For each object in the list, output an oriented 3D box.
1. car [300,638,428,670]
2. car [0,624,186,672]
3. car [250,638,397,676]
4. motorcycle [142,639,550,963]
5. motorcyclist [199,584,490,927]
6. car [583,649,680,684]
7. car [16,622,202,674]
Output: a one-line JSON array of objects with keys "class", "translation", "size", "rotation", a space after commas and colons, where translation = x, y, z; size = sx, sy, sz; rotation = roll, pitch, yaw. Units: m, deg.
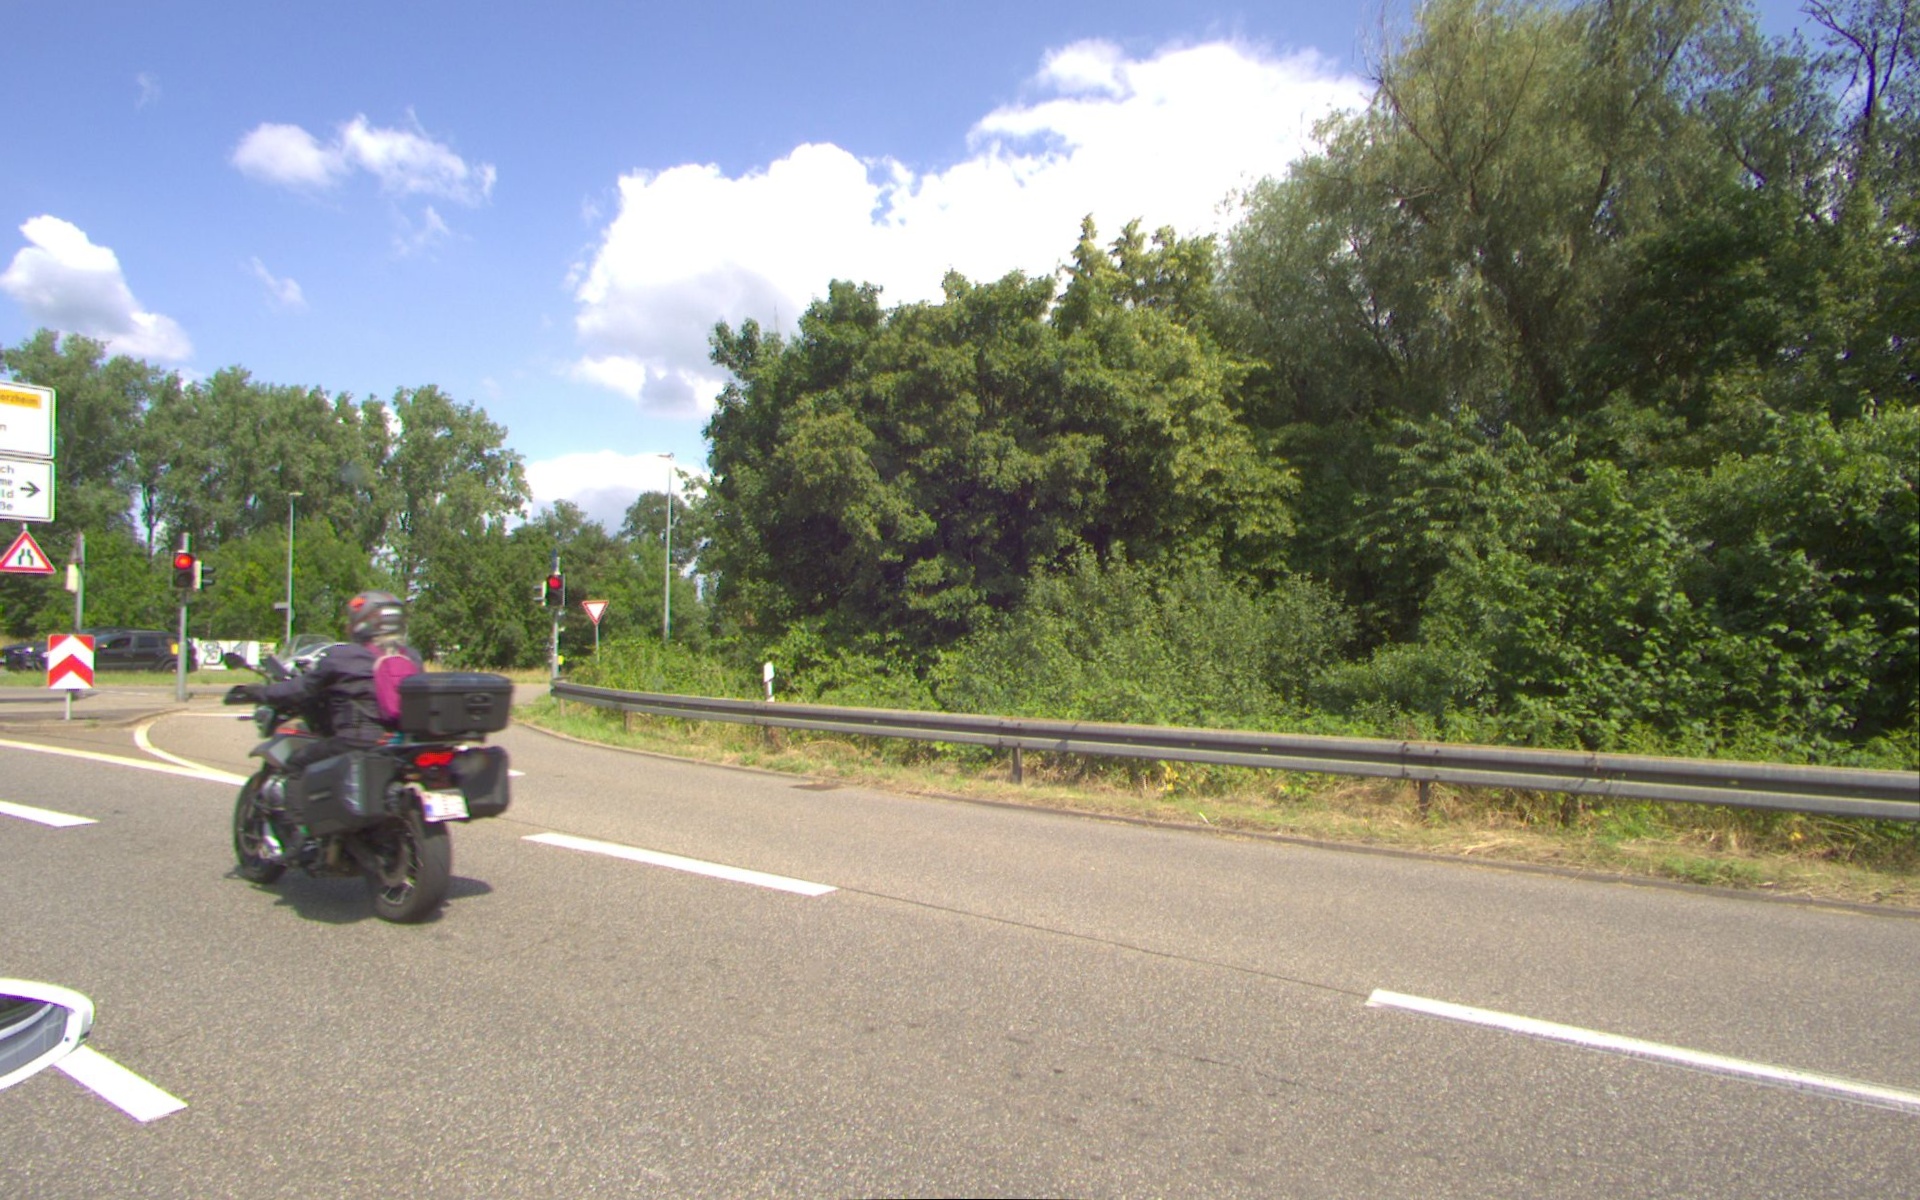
[{"class": "car", "translation": [-25.674, 2.332, 43.281], "size": [1.710, 1.297, 4.491], "rotation": [0, -3, 29]}, {"class": "car", "translation": [-30.413, 1.691, 35.155], "size": [1.711, 1.564, 4.842], "rotation": [0, -3, 31]}, {"class": "car", "translation": [-24.198, 2.148, 38.253], "size": [1.710, 1.337, 4.471], "rotation": [0, -3, 29]}, {"class": "motorcycle", "translation": [-3.383, 0.929, 5.446], "size": [2.336, 1.401, 0.935], "rotation": [-1, -2, 32]}, {"class": "motorcyclist", "translation": [-3.299, 0.755, 5.399], "size": [1.068, 1.611, 0.935], "rotation": [0, -2, 32]}, {"class": "car", "translation": [-14.473, 2.905, 44.317], "size": [1.921, 1.436, 3.961], "rotation": [0, -3, 24]}, {"class": "car", "translation": [-27.548, 1.559, 32.576], "size": [1.711, 1.564, 4.264], "rotation": [0, -3, 31]}]
